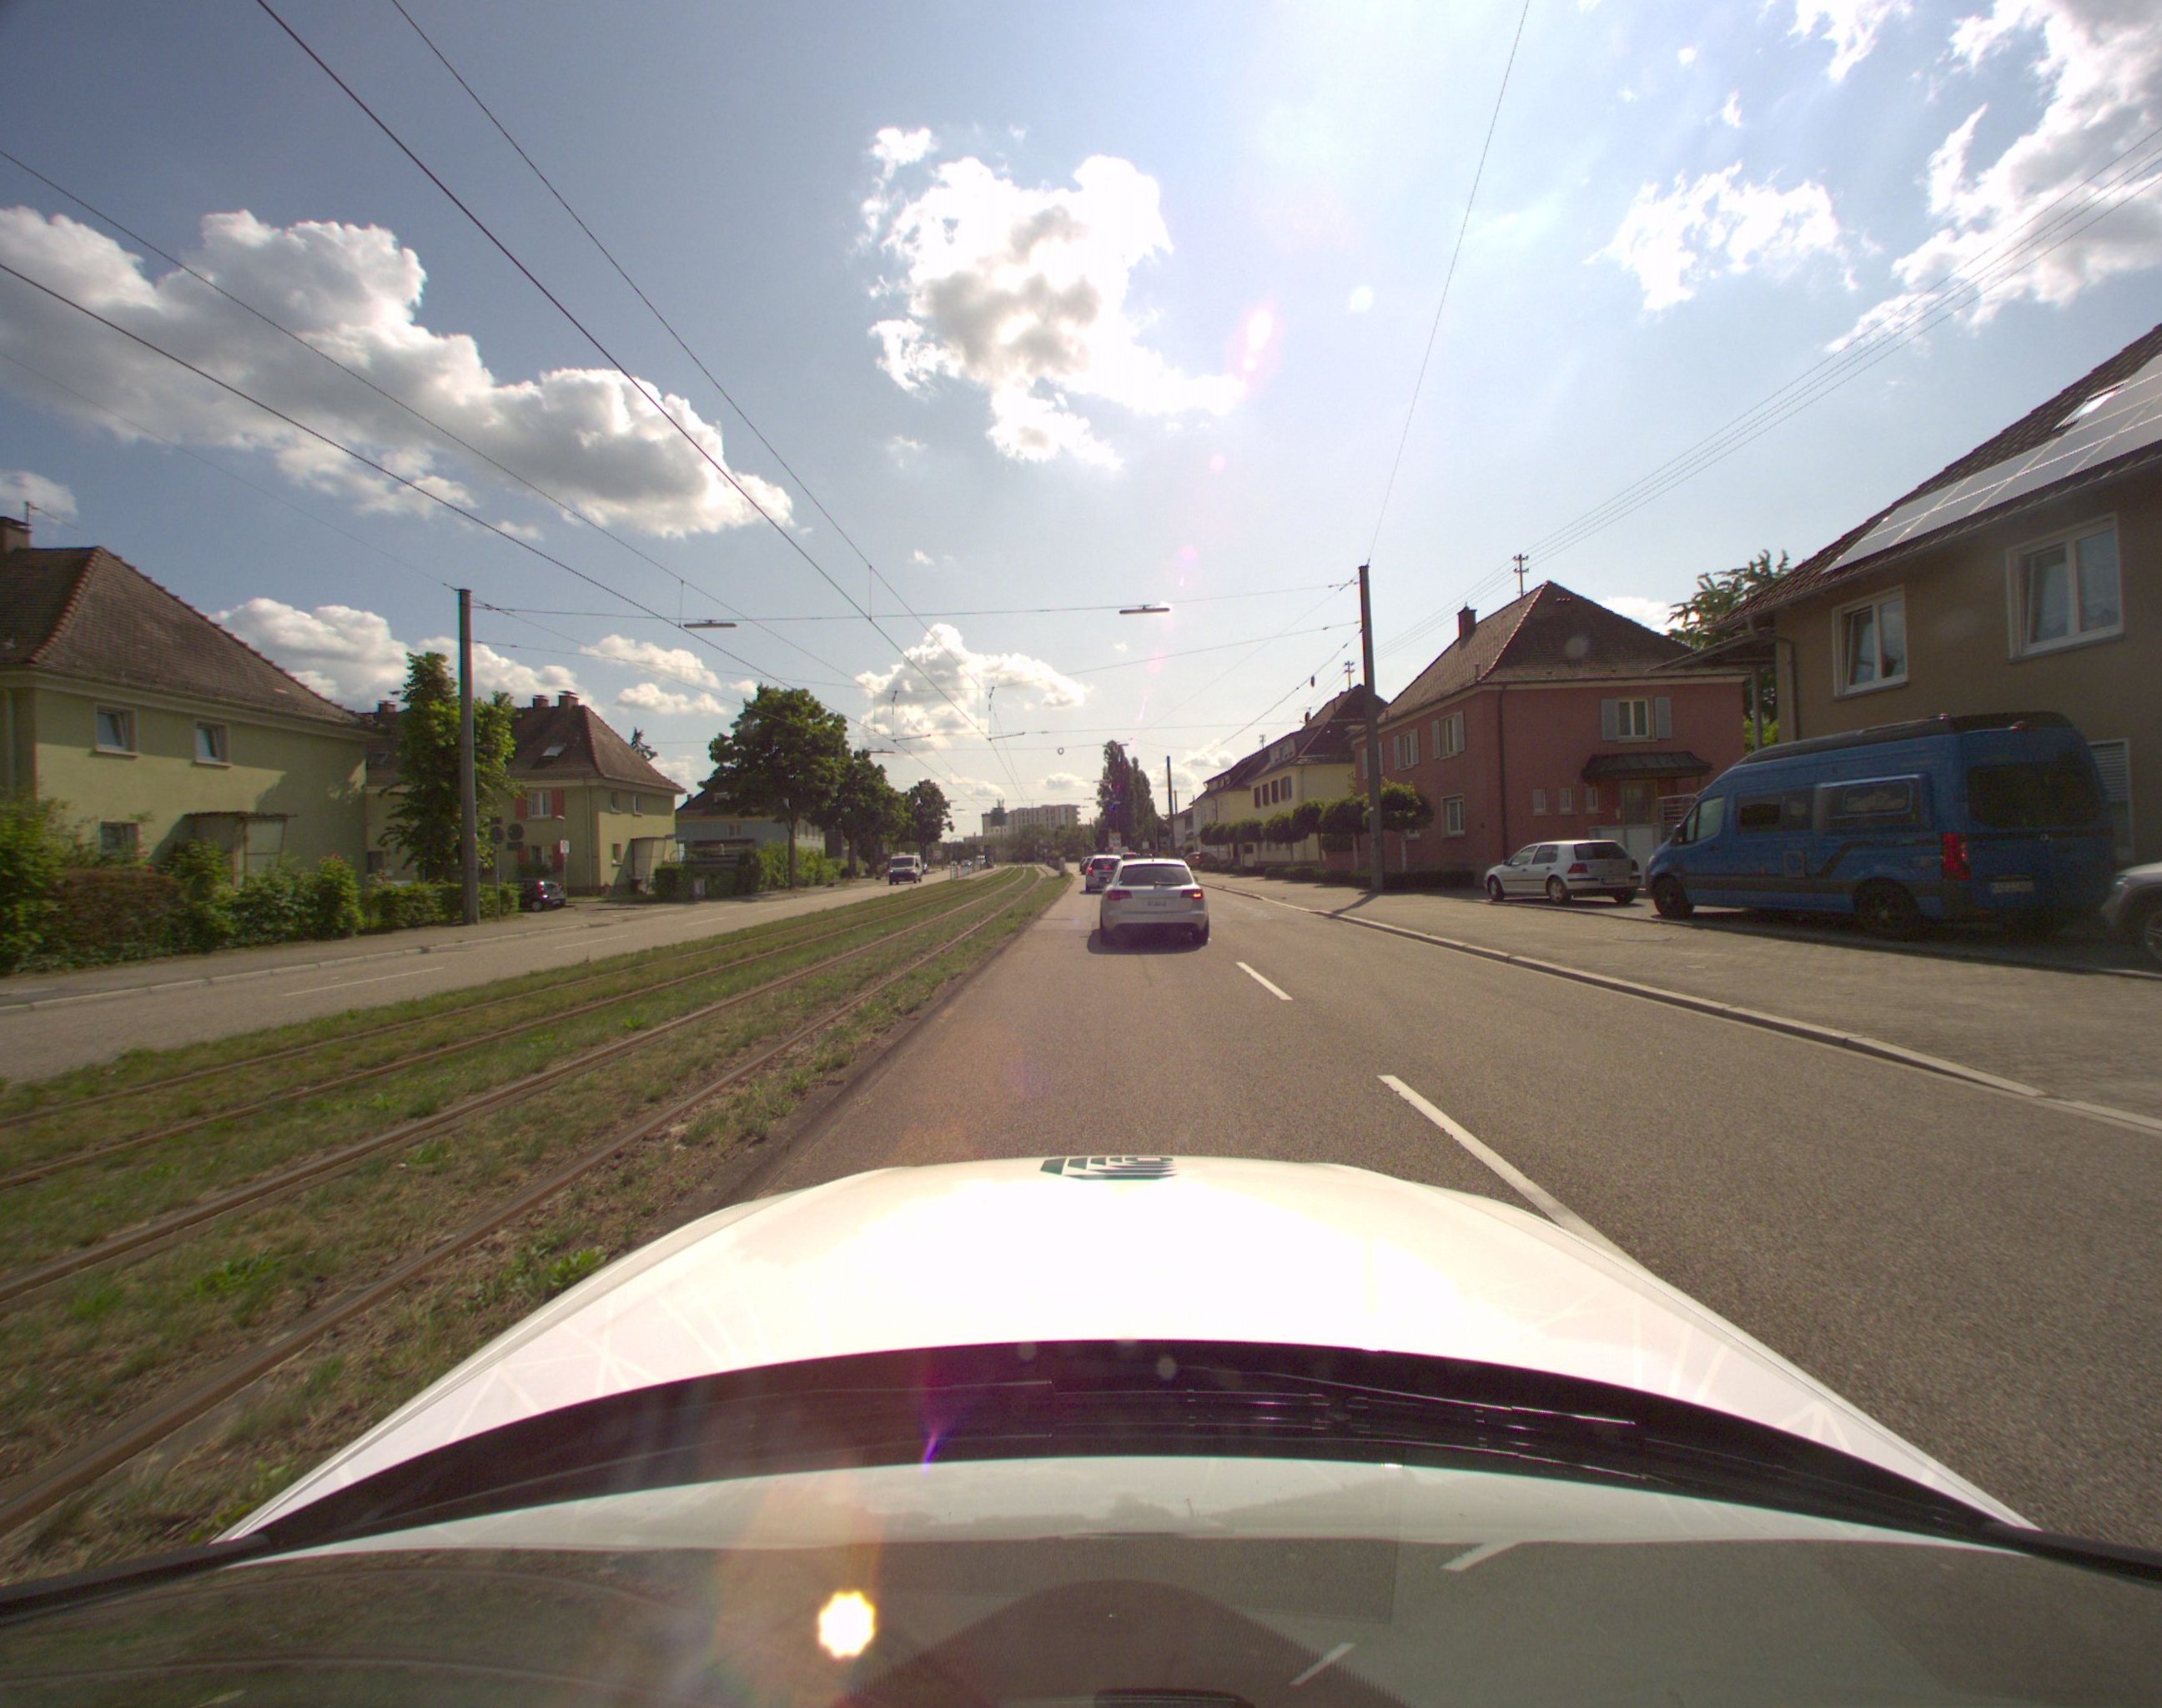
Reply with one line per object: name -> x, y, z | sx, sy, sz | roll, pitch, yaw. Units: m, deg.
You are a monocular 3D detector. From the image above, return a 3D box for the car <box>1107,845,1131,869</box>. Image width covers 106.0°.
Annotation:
car -> 4.321, 0.335, 92.838 | 2.037, 2.557, 5.223 | -2, 0, -4

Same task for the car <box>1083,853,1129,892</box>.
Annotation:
car -> 1.014, 0.758, 34.835 | 1.782, 1.577, 4.093 | 0, 0, -1

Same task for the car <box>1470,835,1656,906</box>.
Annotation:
car -> 11.229, 0.374, 19.372 | 1.645, 1.409, 4.346 | -3, -1, -3

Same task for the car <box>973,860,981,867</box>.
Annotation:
car -> -23.312, 2.058, 182.805 | 1.895, 1.541, 3.719 | -1, -1, -7

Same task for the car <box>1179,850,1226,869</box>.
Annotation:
car -> 10.772, 0.493, 72.080 | 4.117, 1.458, 1.892 | -4, 2, -44

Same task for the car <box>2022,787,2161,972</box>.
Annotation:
car -> 10.937, 0.190, 6.227 | 1.830, 1.711, 4.865 | -4, 0, 1

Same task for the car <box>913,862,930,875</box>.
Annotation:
car -> -21.741, 1.964, 111.144 | 2.060, 1.614, 4.738 | -2, 0, -9

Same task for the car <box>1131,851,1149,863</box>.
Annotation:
car -> 8.198, 0.480, 113.715 | 1.881, 1.637, 4.088 | -1, -1, -4

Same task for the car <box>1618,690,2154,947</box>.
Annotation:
car -> 11.296, -0.372, 12.478 | 2.143, 2.930, 6.247 | -1, -1, 2

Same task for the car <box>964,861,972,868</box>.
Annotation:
car -> -26.057, 2.358, 187.863 | 1.861, 1.651, 3.989 | -1, -1, -8

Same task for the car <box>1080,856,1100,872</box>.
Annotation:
car -> 0.964, 1.043, 82.784 | 1.878, 1.530, 4.096 | -1, -1, 2

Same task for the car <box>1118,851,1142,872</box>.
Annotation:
car -> 4.426, 0.674, 73.143 | 1.876, 1.731, 4.101 | -2, 0, 6

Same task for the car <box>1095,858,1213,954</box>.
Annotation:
car -> 1.359, 0.856, 15.350 | 1.846, 1.492, 4.541 | -1, 0, 5

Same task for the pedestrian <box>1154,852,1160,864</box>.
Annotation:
pedestrian -> 11.256, 0.589, 121.067 | 0.719, 1.782, 0.702 | -4, 0, -2

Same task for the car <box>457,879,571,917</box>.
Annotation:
car -> -25.685, 1.979, 36.986 | 3.732, 1.468, 1.892 | -3, 0, -3

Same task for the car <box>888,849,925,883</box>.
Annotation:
car -> -13.534, 0.935, 63.307 | 2.194, 2.372, 5.319 | -3, -1, -7
